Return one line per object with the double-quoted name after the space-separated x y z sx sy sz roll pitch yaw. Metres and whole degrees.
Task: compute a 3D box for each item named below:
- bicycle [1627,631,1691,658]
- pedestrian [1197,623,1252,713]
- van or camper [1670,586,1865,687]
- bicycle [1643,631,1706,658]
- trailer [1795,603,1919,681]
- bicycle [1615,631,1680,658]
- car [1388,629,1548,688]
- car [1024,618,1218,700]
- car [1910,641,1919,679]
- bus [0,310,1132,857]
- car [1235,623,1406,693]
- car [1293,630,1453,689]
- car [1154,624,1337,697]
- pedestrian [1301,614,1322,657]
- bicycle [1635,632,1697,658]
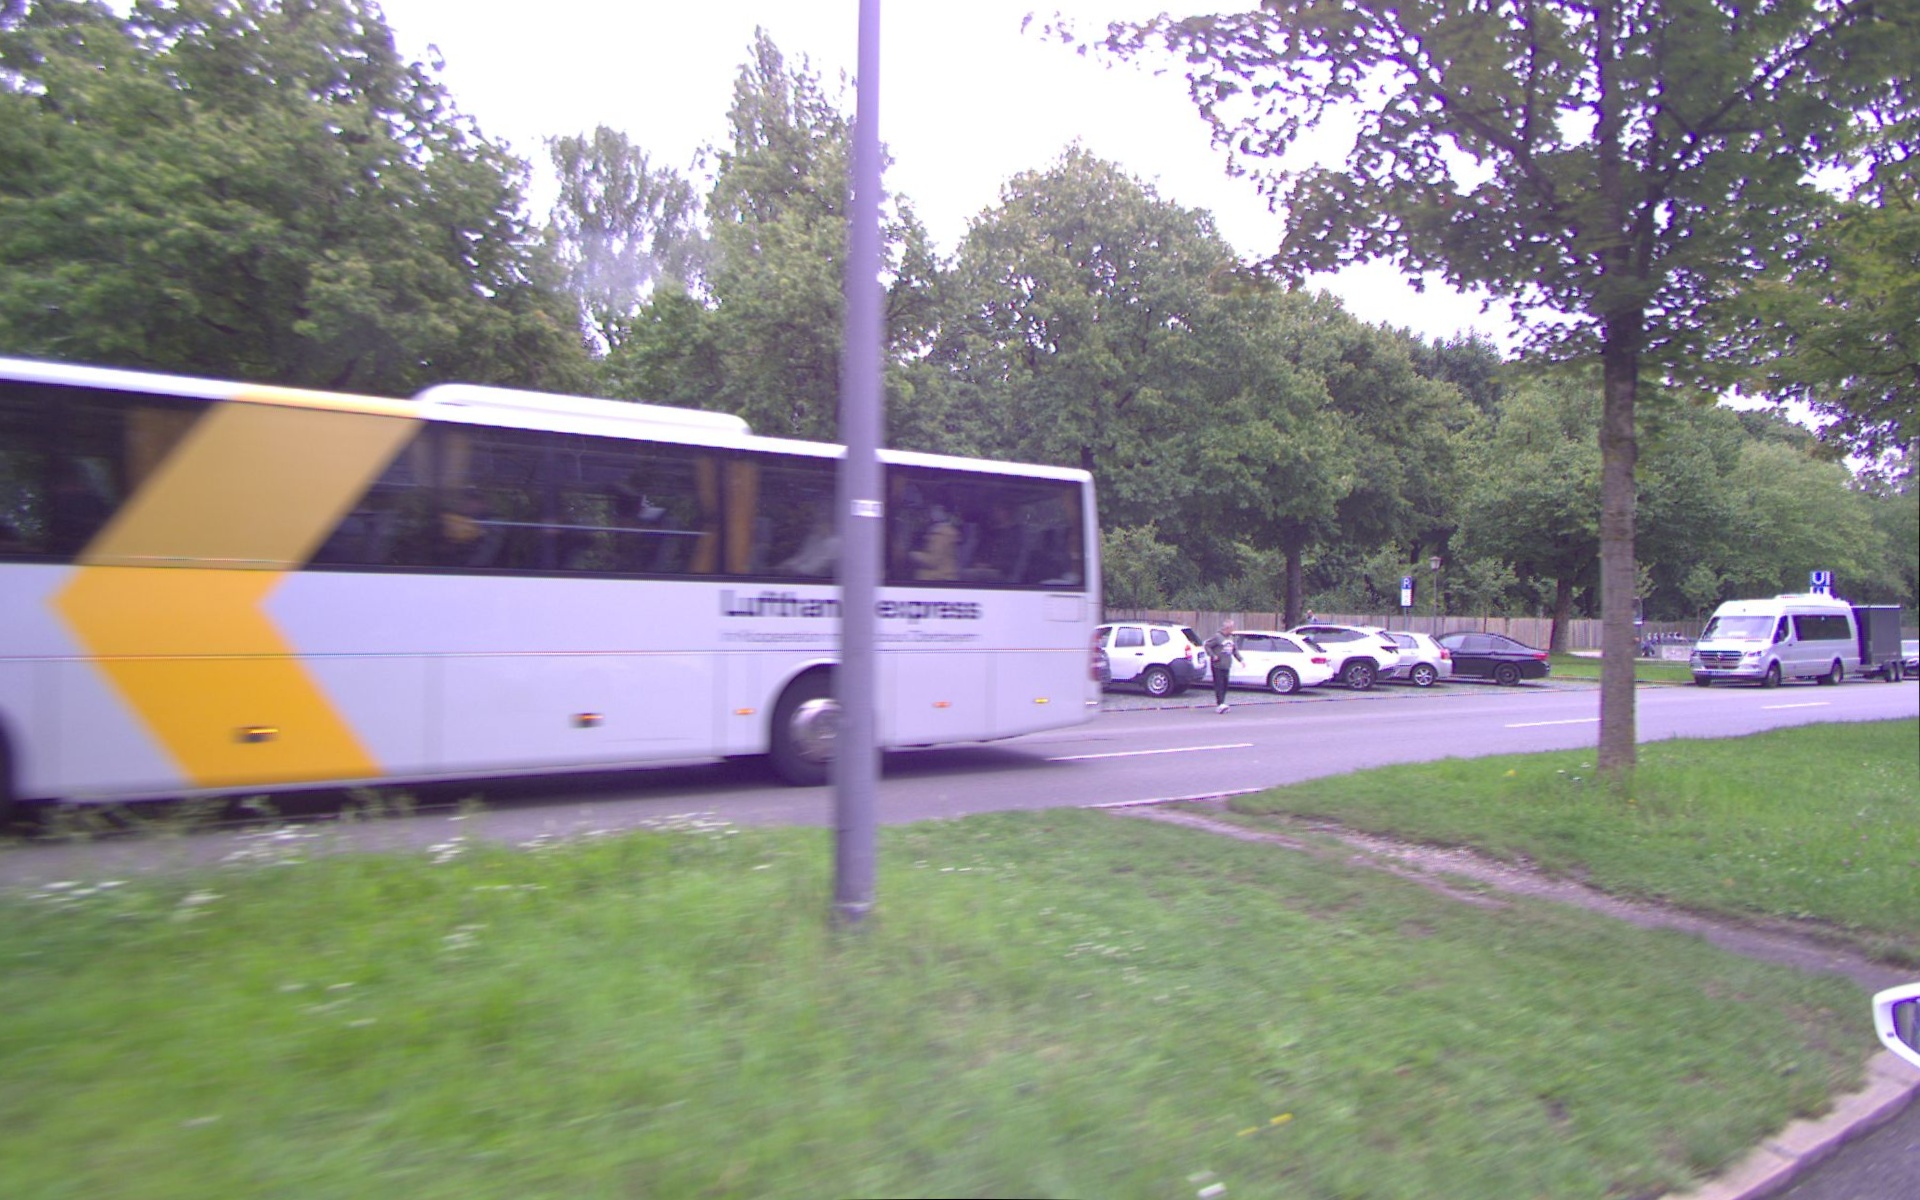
33.670 2.135 48.422 0.698 1.159 2.489 1 0 -27 "bicycle"
4.964 1.250 18.850 0.674 1.633 0.719 1 -1 -38 "pedestrian"
25.280 1.120 31.330 7.405 2.871 2.298 1 -1 -30 "van or camper"
34.941 2.163 49.143 0.646 1.159 2.489 1 0 -27 "bicycle"
31.774 1.438 35.234 5.511 2.574 2.096 1 -1 -30 "trailer"
32.793 2.115 47.968 0.714 1.159 2.489 1 0 -27 "bicycle"
14.728 1.667 29.296 4.031 1.493 1.703 1 -1 27 "car"
3.713 1.296 23.184 4.032 1.718 1.917 0 -1 27 "car"
40.007 2.415 40.293 4.052 1.466 1.840 1 -1 -32 "car"
-3.952 0.002 9.043 11.870 3.422 2.726 1 -3 -30 "bus"
9.464 1.458 26.380 4.032 1.674 1.917 0 -1 27 "car"
11.623 1.611 28.258 4.032 1.493 1.917 0 -1 27 "car"
7.006 1.424 24.655 4.032 1.606 1.917 0 -1 27 "car"
13.675 1.367 39.042 0.668 1.633 0.691 0 -1 29 "pedestrian"
34.257 2.174 48.781 0.593 1.159 2.489 1 0 -27 "bicycle"
